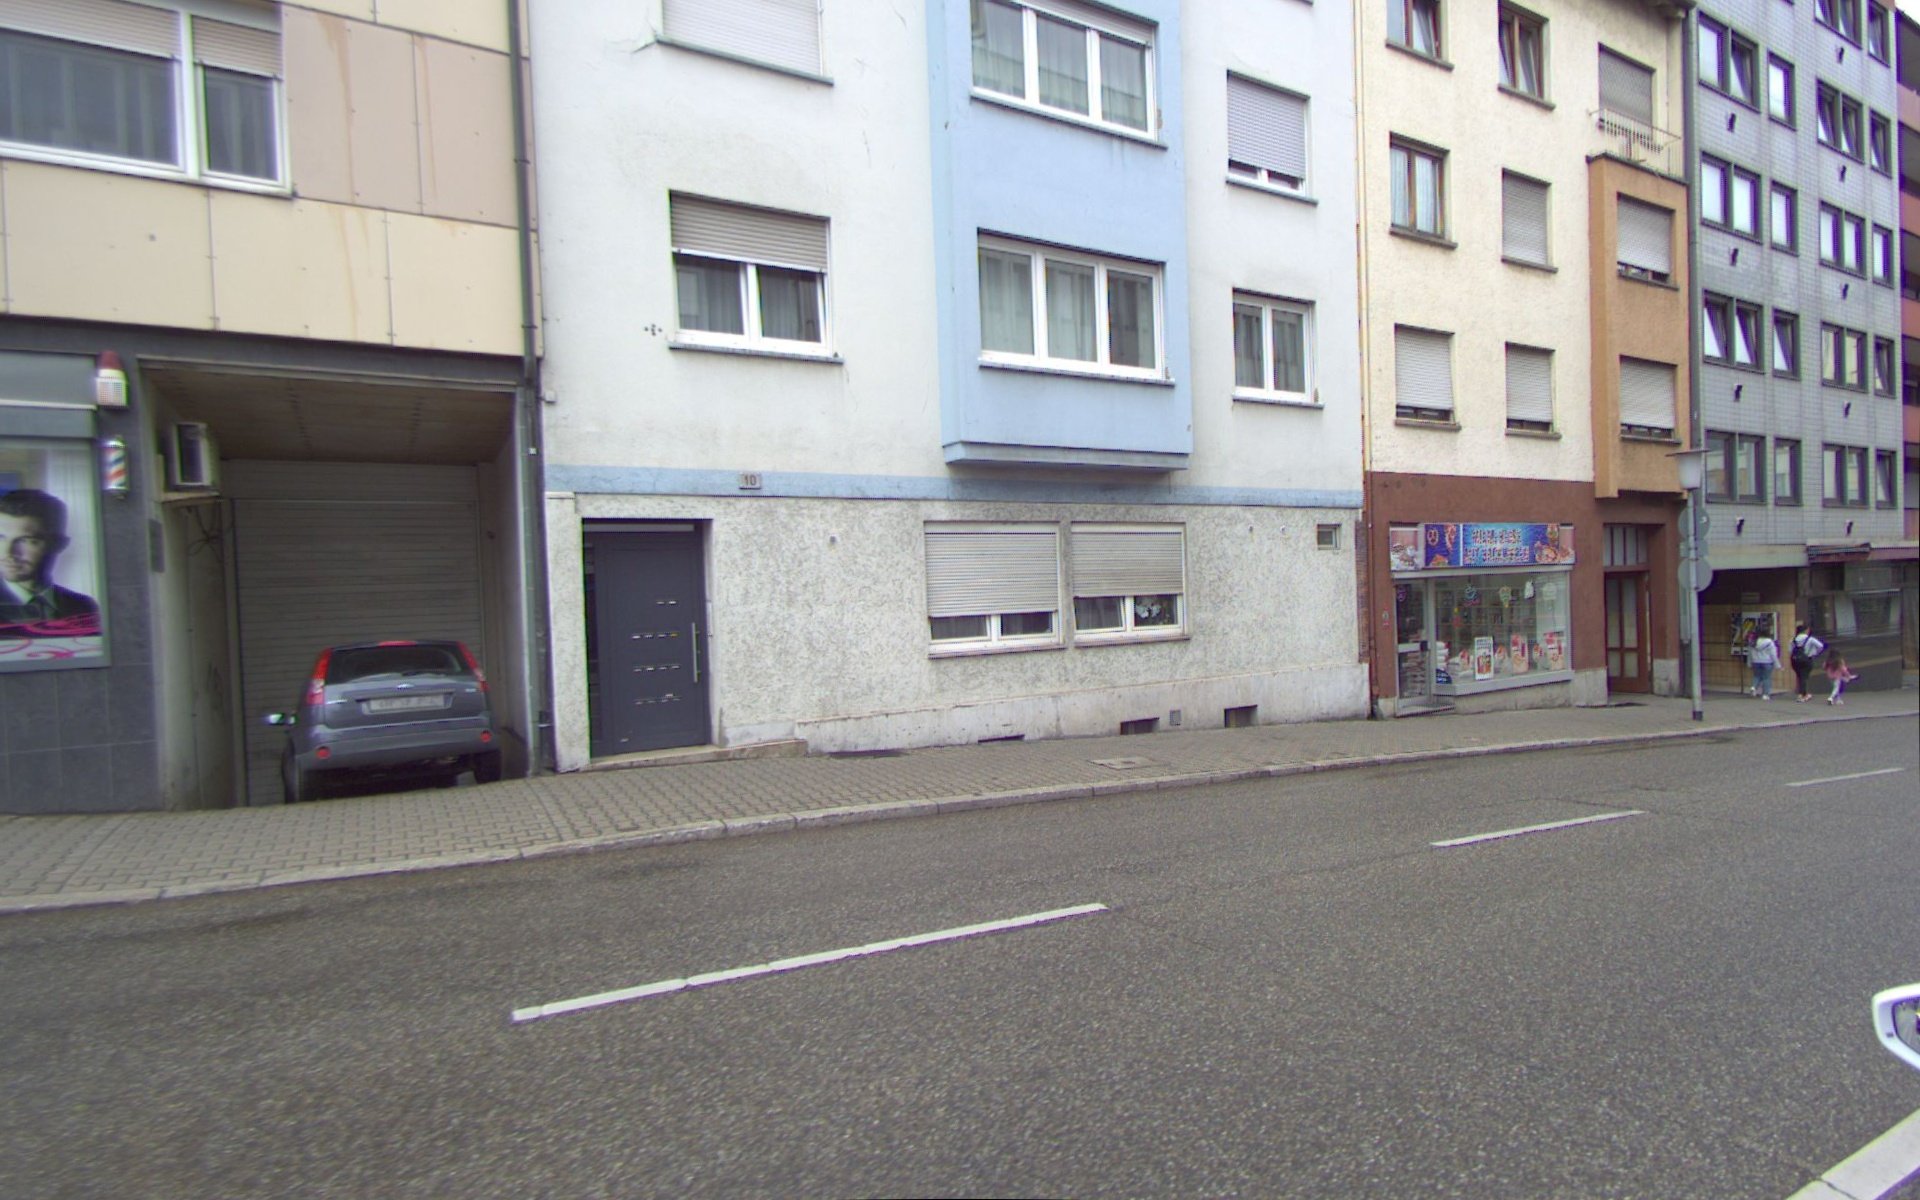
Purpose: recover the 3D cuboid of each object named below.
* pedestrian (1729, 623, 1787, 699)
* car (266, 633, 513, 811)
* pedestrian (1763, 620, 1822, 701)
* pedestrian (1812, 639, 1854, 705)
[{"bbox_3d":[17.678,1.333,22.256,0.717,1.581,0.820,1,2,-39],"label":"pedestrian"},{"bbox_3d":[-5.909,1.242,10.167,1.663,1.367,3.962,-1,-6,-37],"label":"car"},{"bbox_3d":[18.553,1.333,22.387,0.717,1.712,0.820,1,2,-39],"label":"pedestrian"},{"bbox_3d":[18.789,1.536,21.617,0.717,1.341,0.529,1,2,-39],"label":"pedestrian"}]
